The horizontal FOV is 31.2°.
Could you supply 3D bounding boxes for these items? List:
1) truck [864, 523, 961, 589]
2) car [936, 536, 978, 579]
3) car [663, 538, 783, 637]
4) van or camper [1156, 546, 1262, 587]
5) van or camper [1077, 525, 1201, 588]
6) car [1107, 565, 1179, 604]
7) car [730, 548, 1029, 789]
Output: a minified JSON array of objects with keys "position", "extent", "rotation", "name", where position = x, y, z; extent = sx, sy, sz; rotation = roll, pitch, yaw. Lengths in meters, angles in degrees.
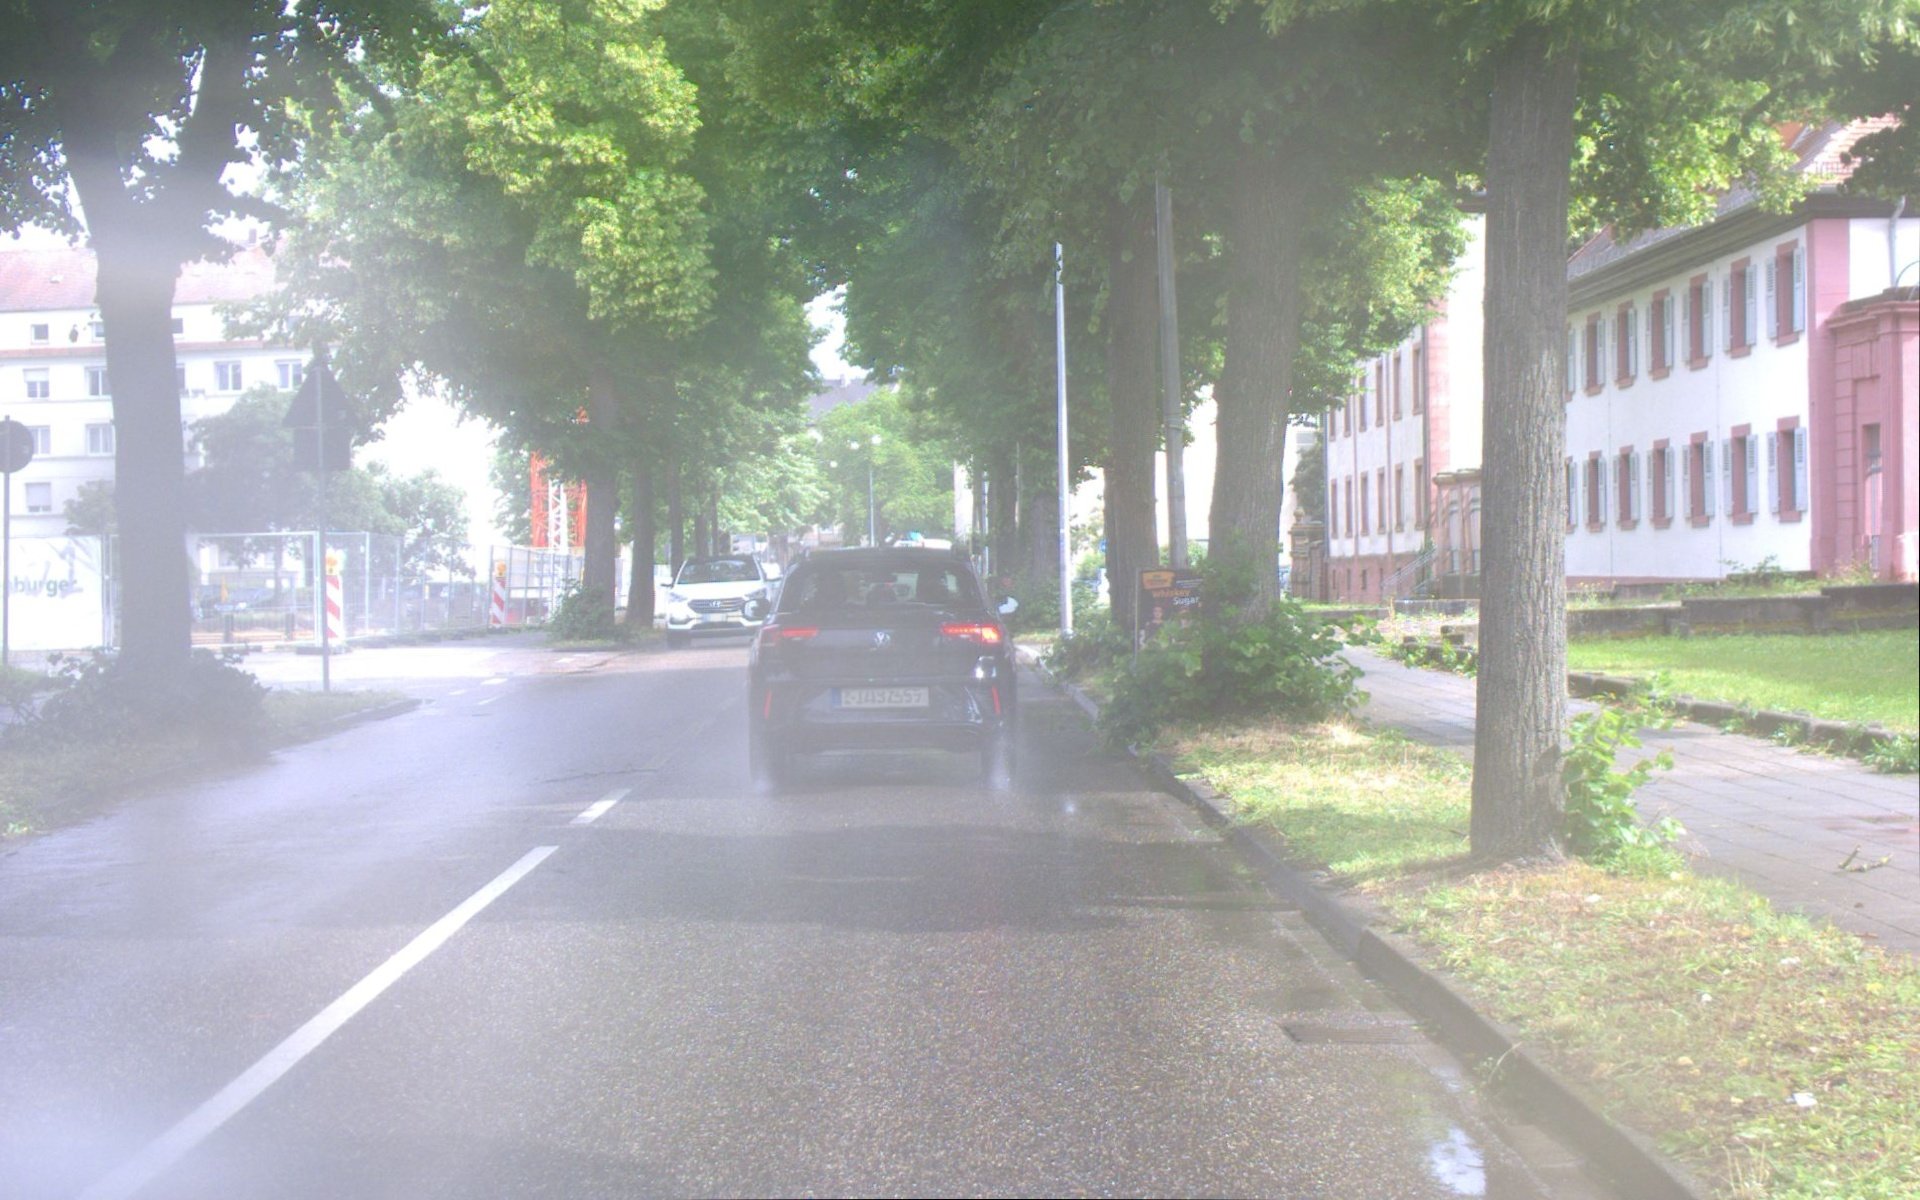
[{"position":[-2.020,-1.847,142.747],"extent":[2.804,2.647,8.243],"rotation":[0,1,-10],"name":"truck"},{"position":[-0.145,-2.363,191.778],"extent":[1.994,2.007,3.999],"rotation":[-3,-3,3],"name":"car"},{"position":[-4.279,-0.252,62.616],"extent":[1.886,1.708,4.230],"rotation":[-1,1,0],"name":"car"},{"position":[11.821,-1.608,163.376],"extent":[4.874,1.919,2.131],"rotation":[0,1,0],"name":"van or camper"},{"position":[7.610,-1.846,146.588],"extent":[5.032,2.587,2.168],"rotation":[-1,0,-2],"name":"van or camper"},{"position":[9.360,-0.780,175.388],"extent":[3.408,1.775,1.759],"rotation":[-4,0,9],"name":"car"},{"position":[-0.567,0.419,23.829],"extent":[1.894,1.517,4.000],"rotation":[0,0,-2],"name":"car"}]
